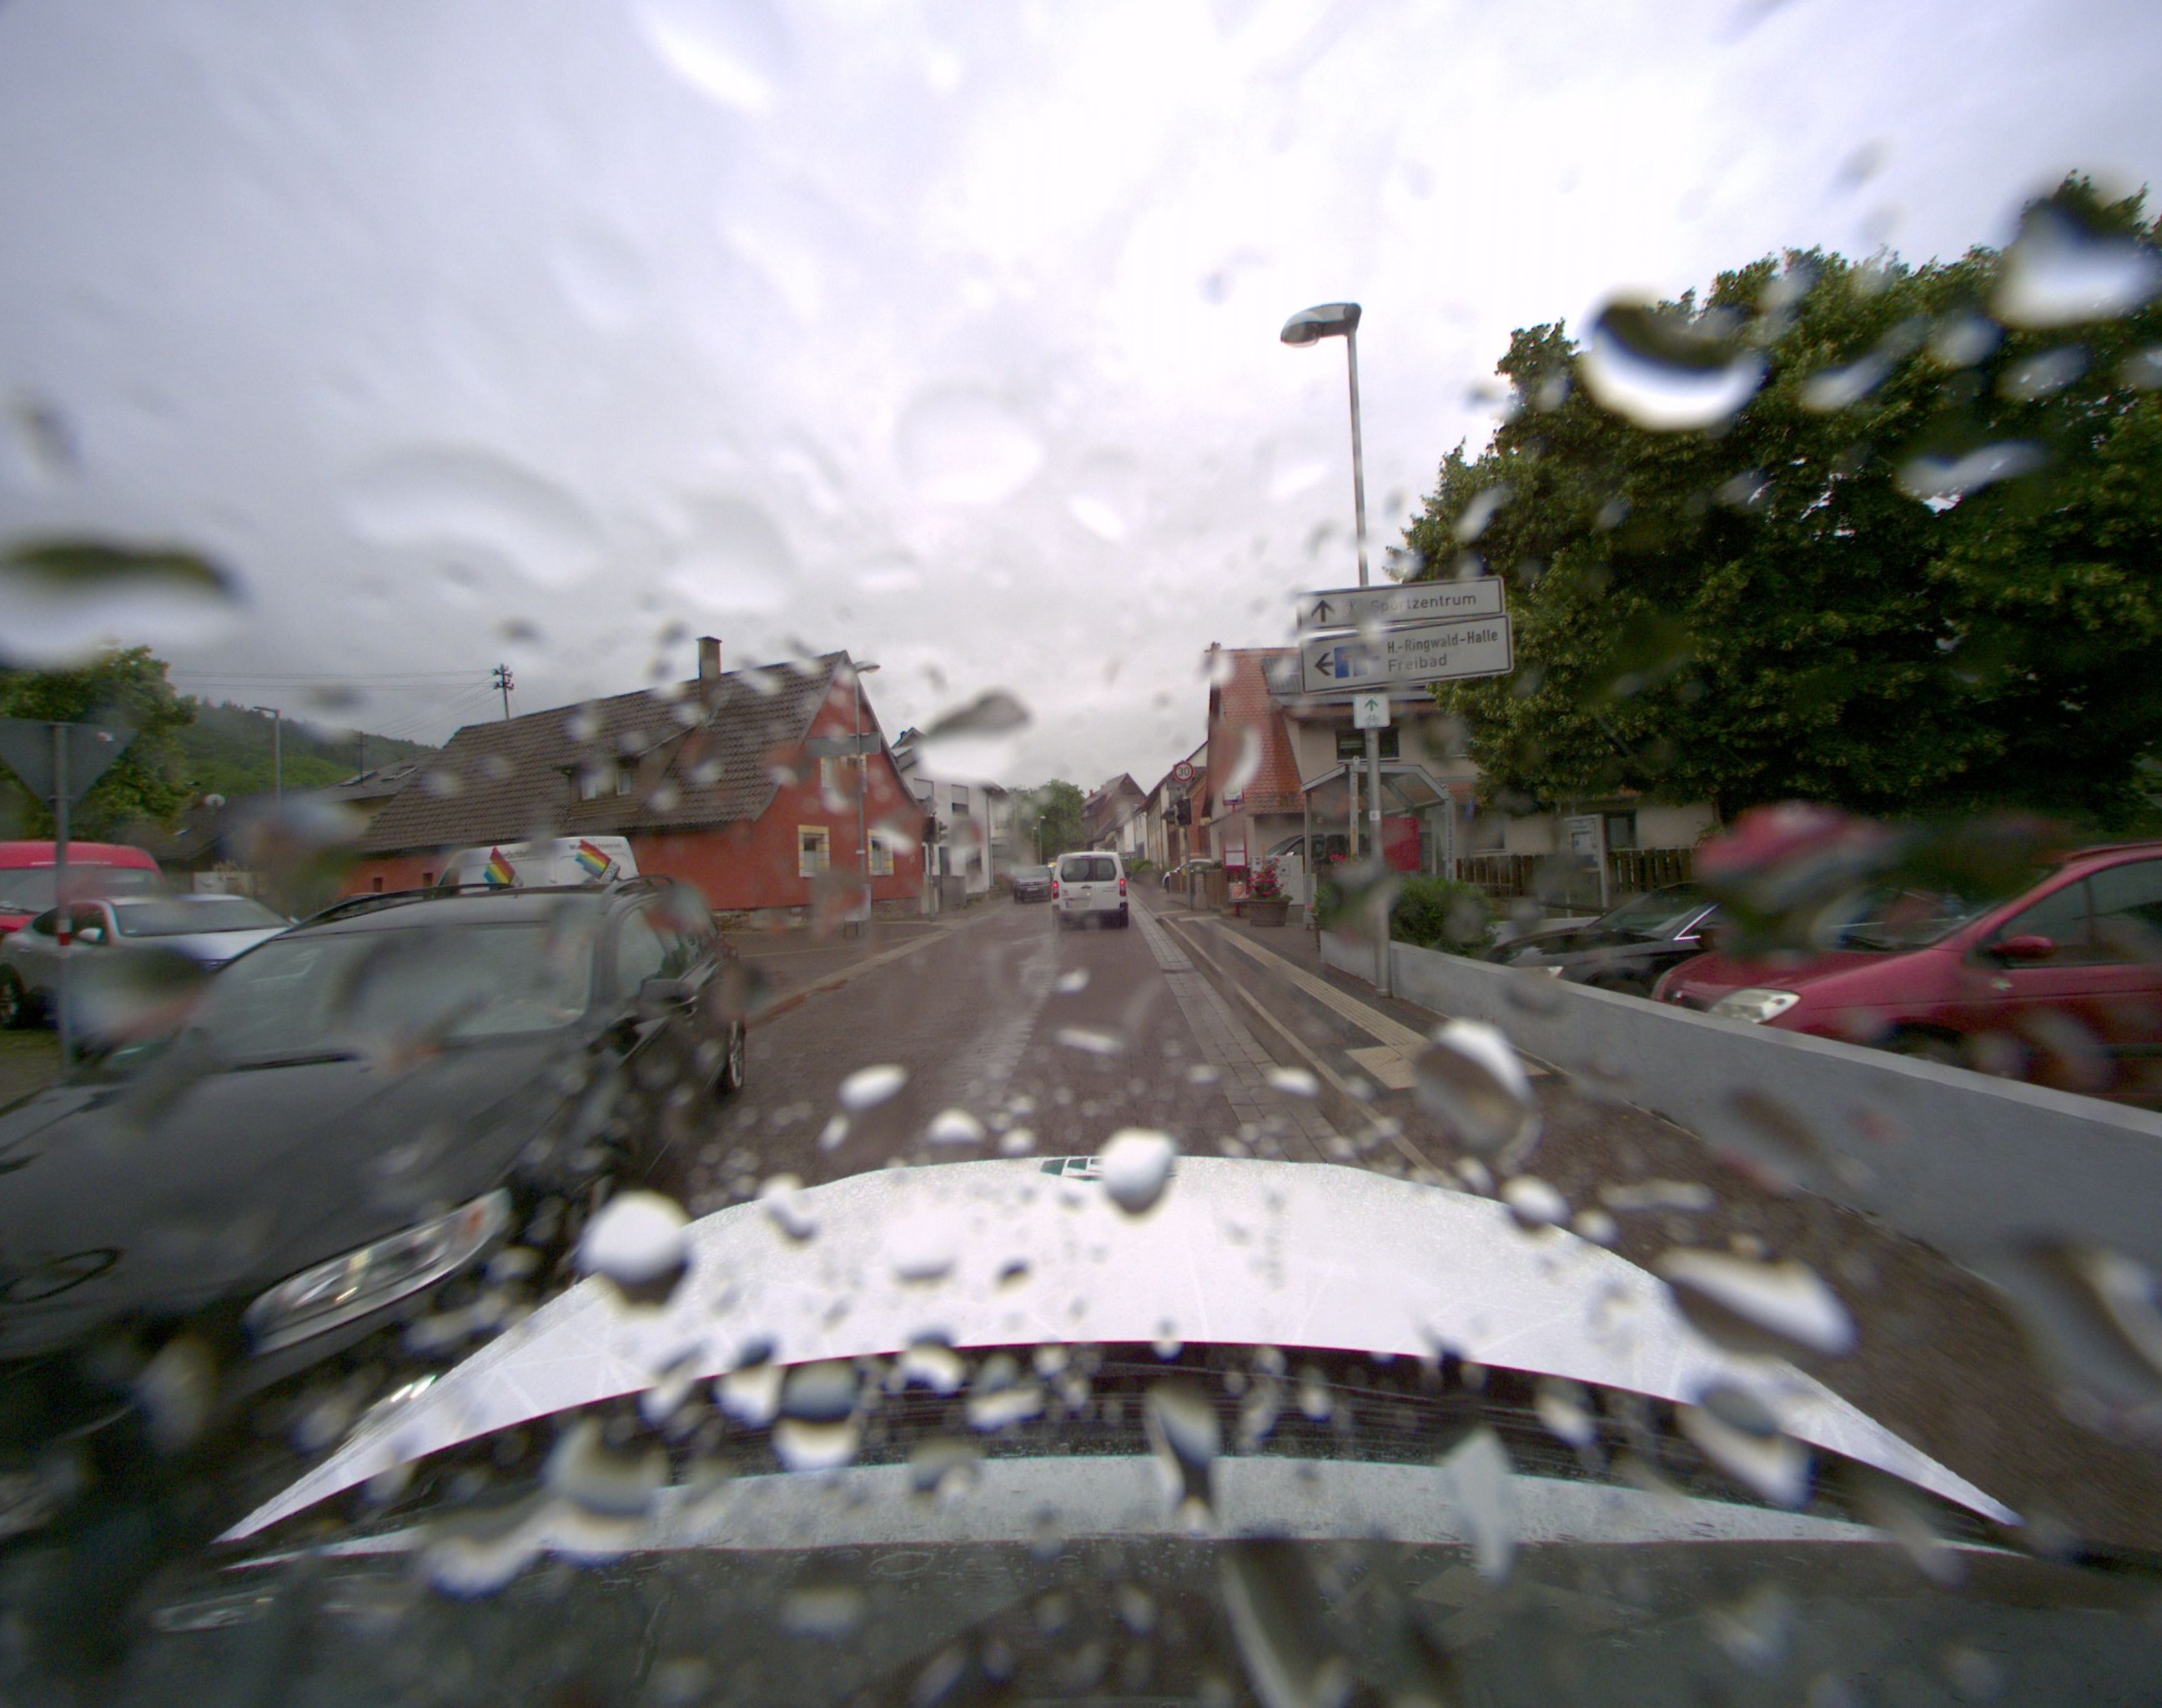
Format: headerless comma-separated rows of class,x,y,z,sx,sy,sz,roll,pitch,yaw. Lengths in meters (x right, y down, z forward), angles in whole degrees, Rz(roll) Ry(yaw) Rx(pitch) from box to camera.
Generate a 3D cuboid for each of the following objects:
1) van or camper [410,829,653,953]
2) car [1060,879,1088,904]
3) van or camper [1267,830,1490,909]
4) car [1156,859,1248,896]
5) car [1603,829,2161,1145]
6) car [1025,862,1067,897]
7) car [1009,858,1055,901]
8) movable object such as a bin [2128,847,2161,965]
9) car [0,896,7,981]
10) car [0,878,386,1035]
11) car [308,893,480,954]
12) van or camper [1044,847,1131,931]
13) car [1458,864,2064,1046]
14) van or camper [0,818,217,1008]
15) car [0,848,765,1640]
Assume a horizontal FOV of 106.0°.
van or camper,-12.269,0.818,18.151,5.094,2.435,2.225,-3,0,27
car,-0.508,2.651,56.647,1.685,1.565,3.928,-3,-4,-3
van or camper,7.524,0.388,20.919,5.055,1.923,1.874,0,-1,-2
car,5.680,1.052,38.792,1.883,1.590,4.574,-1,1,-31
car,5.830,0.670,4.976,4.037,1.589,1.865,-2,-1,15
car,-1.846,1.379,43.973,1.741,1.636,4.421,-5,-2,3
car,-2.209,1.137,37.747,1.806,1.779,4.017,-3,0,0
movable object such as a bin,13.045,0.590,9.072,1.237,1.357,1.156,-1,-1,3
car,-21.851,1.615,14.852,3.766,1.550,1.810,-3,-2,22
car,-10.991,1.137,9.988,4.407,1.550,1.892,-2,-1,22
car,-17.208,1.725,20.388,3.953,1.281,1.848,-3,0,27
van or camper,0.201,0.797,20.360,1.936,1.851,4.001,-1,0,2
car,5.861,0.870,7.545,3.928,1.378,1.756,-3,-1,9
van or camper,-16.323,0.888,12.784,5.804,2.474,2.168,-2,-2,27
car,-2.699,0.812,3.633,1.847,1.477,4.292,-3,0,-15
